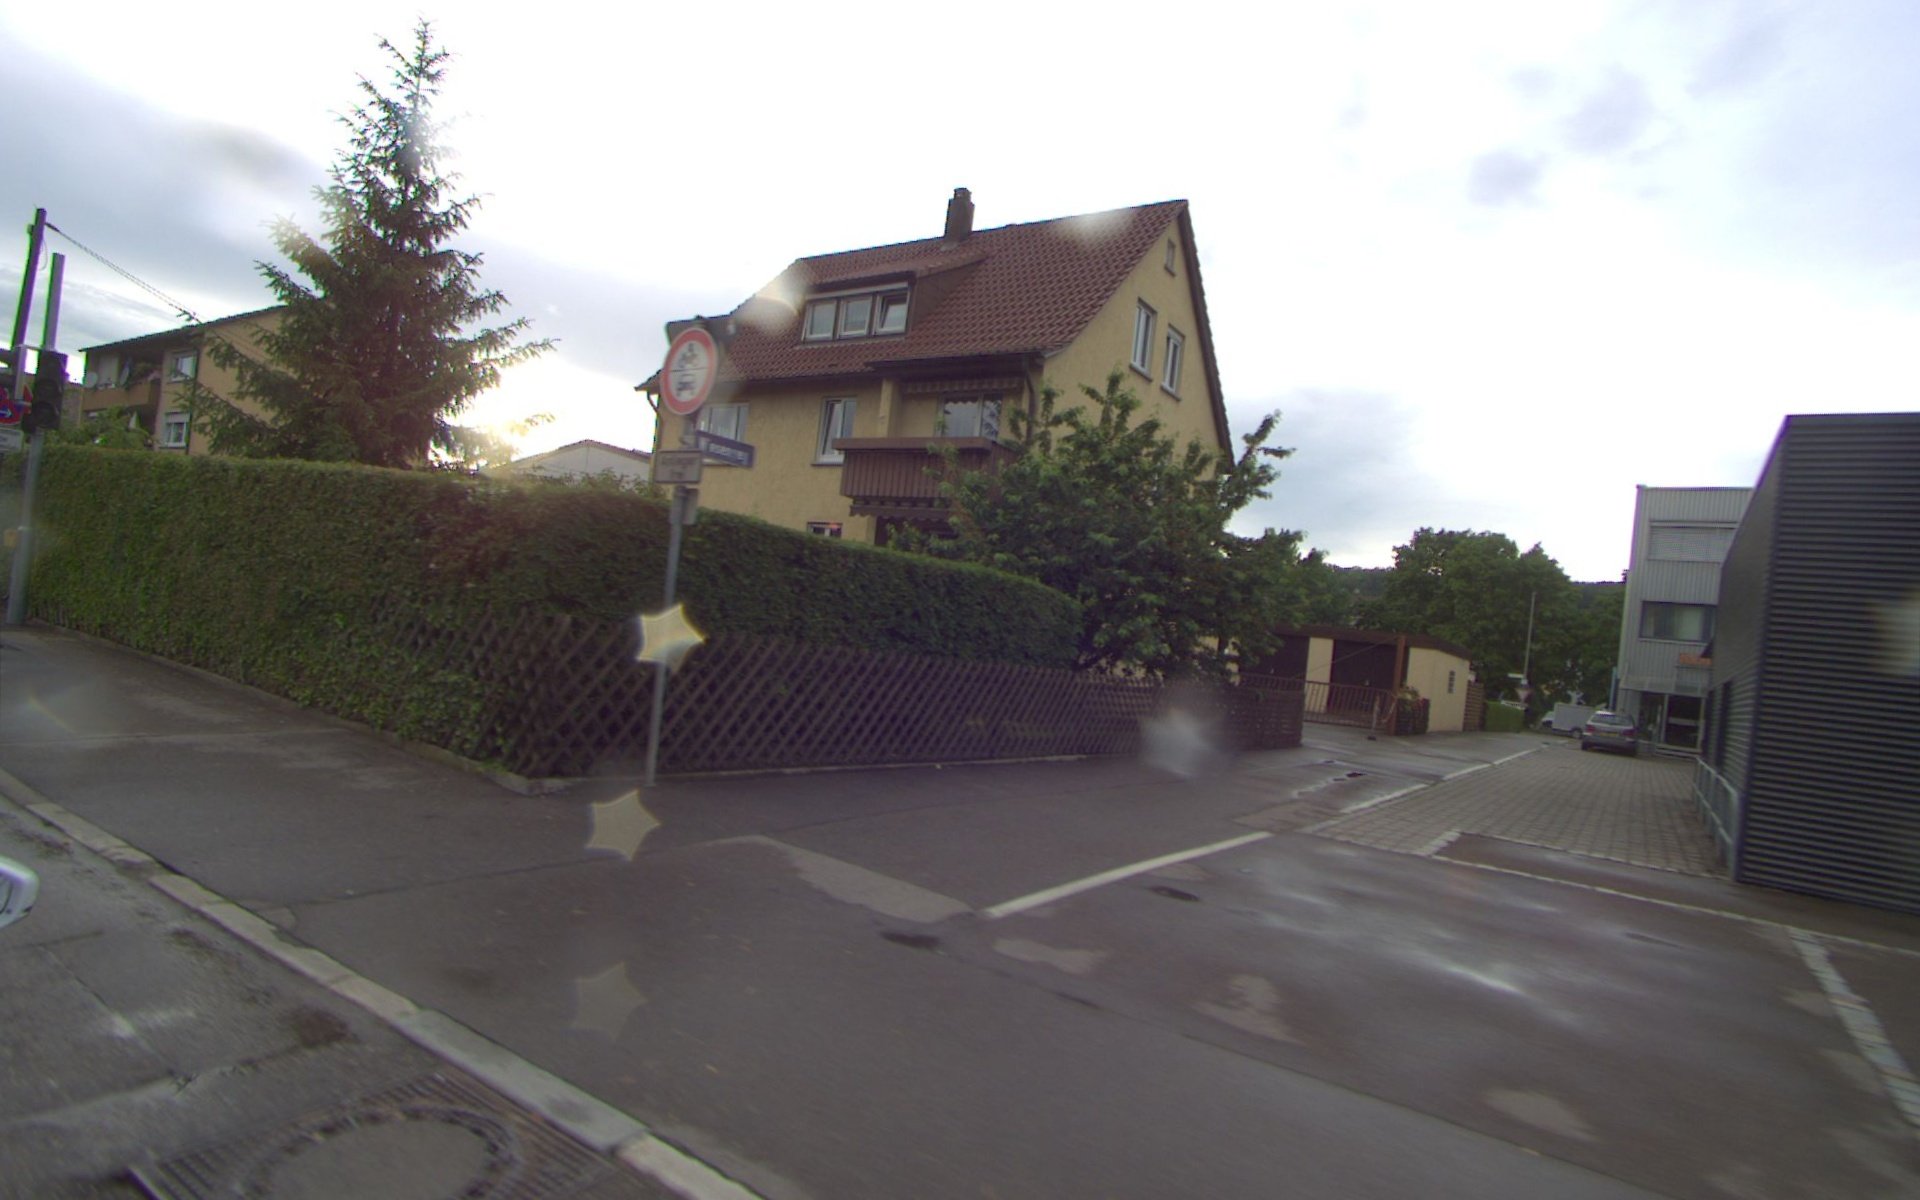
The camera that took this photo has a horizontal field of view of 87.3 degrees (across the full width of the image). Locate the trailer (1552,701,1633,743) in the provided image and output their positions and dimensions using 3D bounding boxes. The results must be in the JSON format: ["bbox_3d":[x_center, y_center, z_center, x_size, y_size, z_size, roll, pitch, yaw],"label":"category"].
[{"bbox_3d":[39.477,7.601,62.806,3.940,1.960,1.994,6,-1,38],"label":"trailer"}]

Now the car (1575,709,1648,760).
[{"bbox_3d":[25.646,5.301,39.541,1.970,1.499,3.991,8,-3,38],"label":"car"}]
